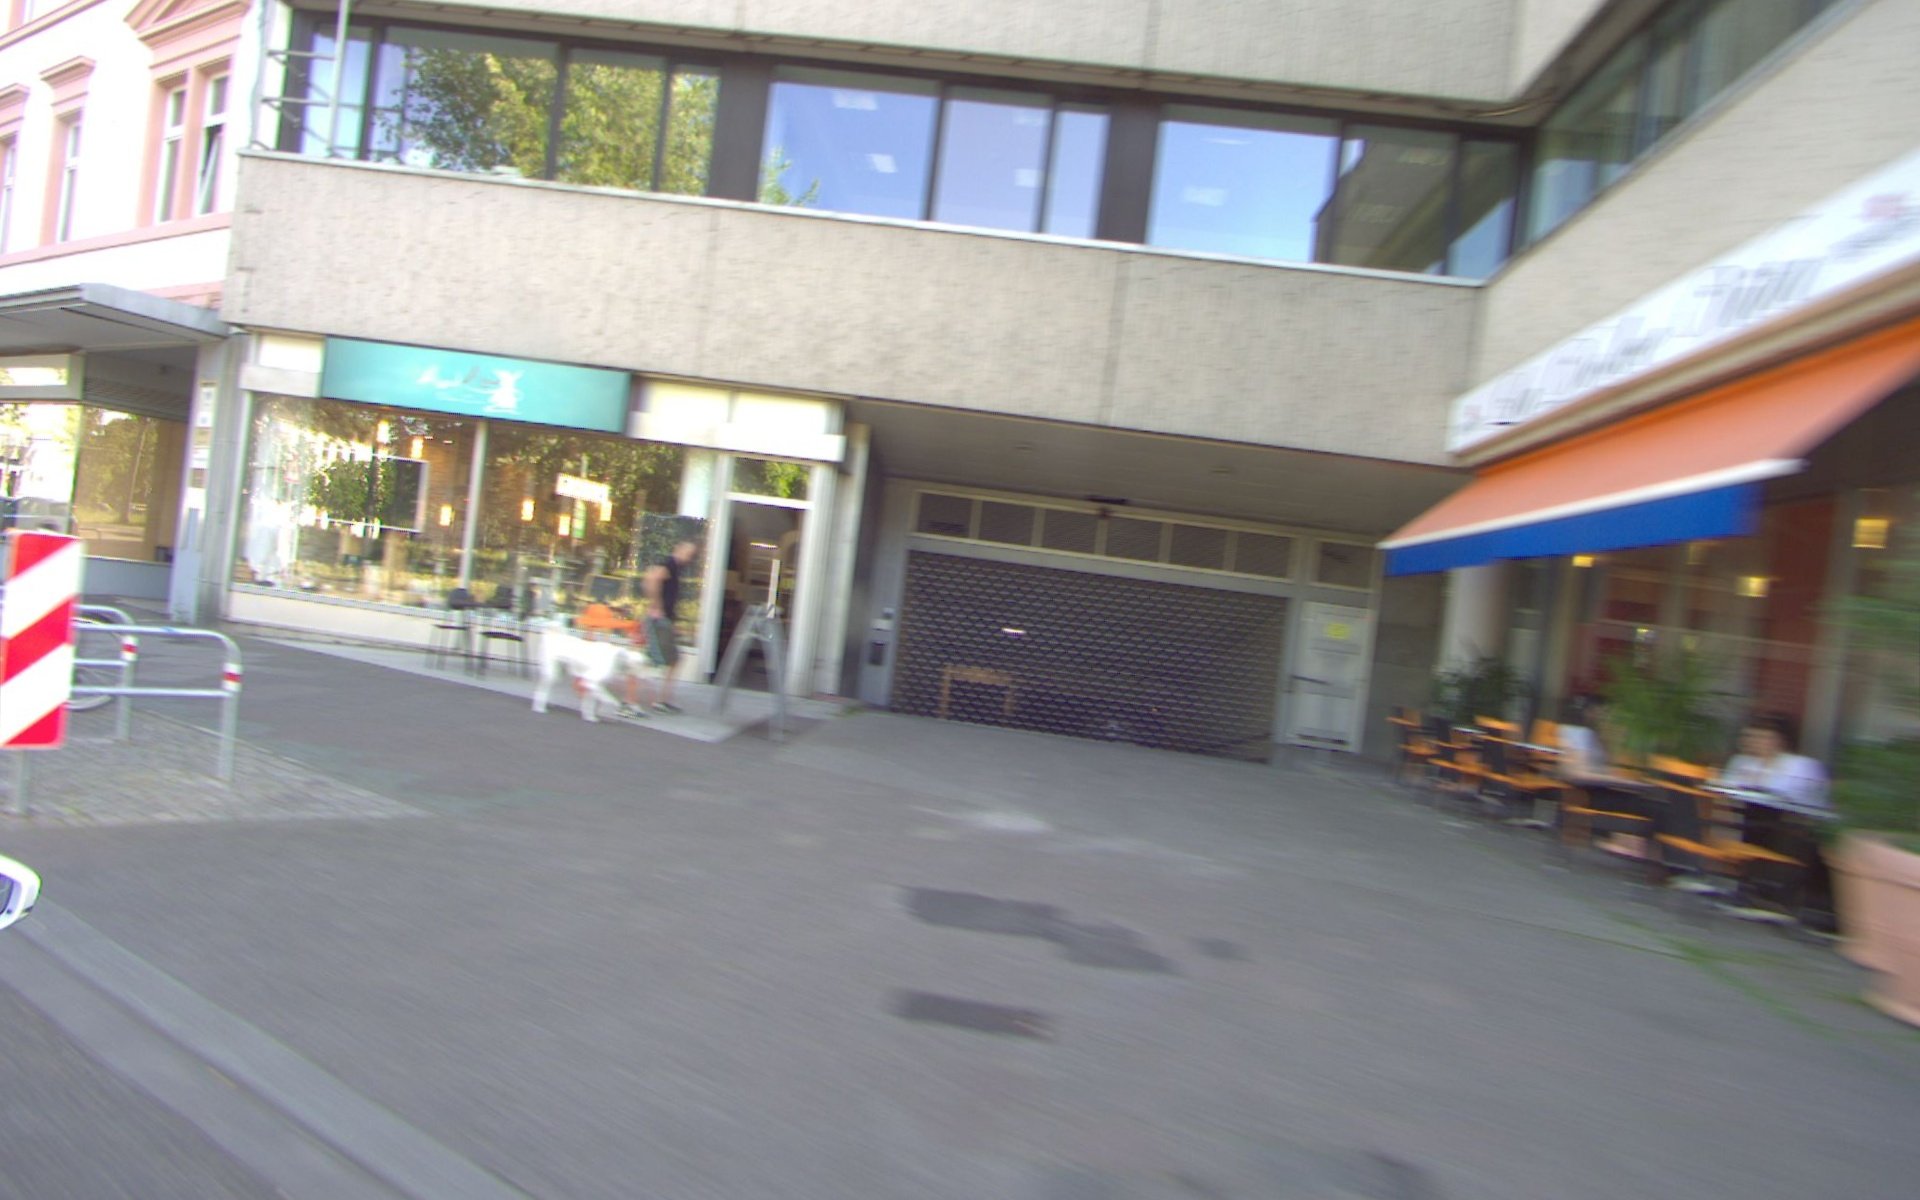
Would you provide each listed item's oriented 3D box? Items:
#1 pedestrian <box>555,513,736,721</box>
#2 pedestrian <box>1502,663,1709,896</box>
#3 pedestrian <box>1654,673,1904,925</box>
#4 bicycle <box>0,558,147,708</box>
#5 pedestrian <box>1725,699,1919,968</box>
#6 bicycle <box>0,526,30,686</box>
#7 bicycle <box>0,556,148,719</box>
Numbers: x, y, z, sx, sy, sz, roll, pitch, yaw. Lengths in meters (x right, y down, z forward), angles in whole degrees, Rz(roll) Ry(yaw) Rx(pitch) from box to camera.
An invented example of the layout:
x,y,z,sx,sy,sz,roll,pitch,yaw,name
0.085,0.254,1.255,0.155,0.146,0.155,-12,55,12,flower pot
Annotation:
x,y,z,sx,sy,sz,roll,pitch,yaw,name
-2.937,0.157,9.392,1.121,1.762,1.017,5,-2,44,pedestrian
4.464,1.204,7.022,0.739,1.418,0.844,8,-2,0,pedestrian
5.376,1.261,6.670,0.815,1.419,0.844,8,0,5,pedestrian
-6.983,0.201,7.196,1.700,1.015,0.422,9,-3,-44,bicycle
5.111,1.292,5.762,0.815,1.308,0.844,6,1,18,pedestrian
-8.367,-0.057,7.753,1.615,1.257,0.652,9,-3,-40,bicycle
-6.732,0.226,6.913,1.675,1.074,0.339,9,-3,-44,bicycle
